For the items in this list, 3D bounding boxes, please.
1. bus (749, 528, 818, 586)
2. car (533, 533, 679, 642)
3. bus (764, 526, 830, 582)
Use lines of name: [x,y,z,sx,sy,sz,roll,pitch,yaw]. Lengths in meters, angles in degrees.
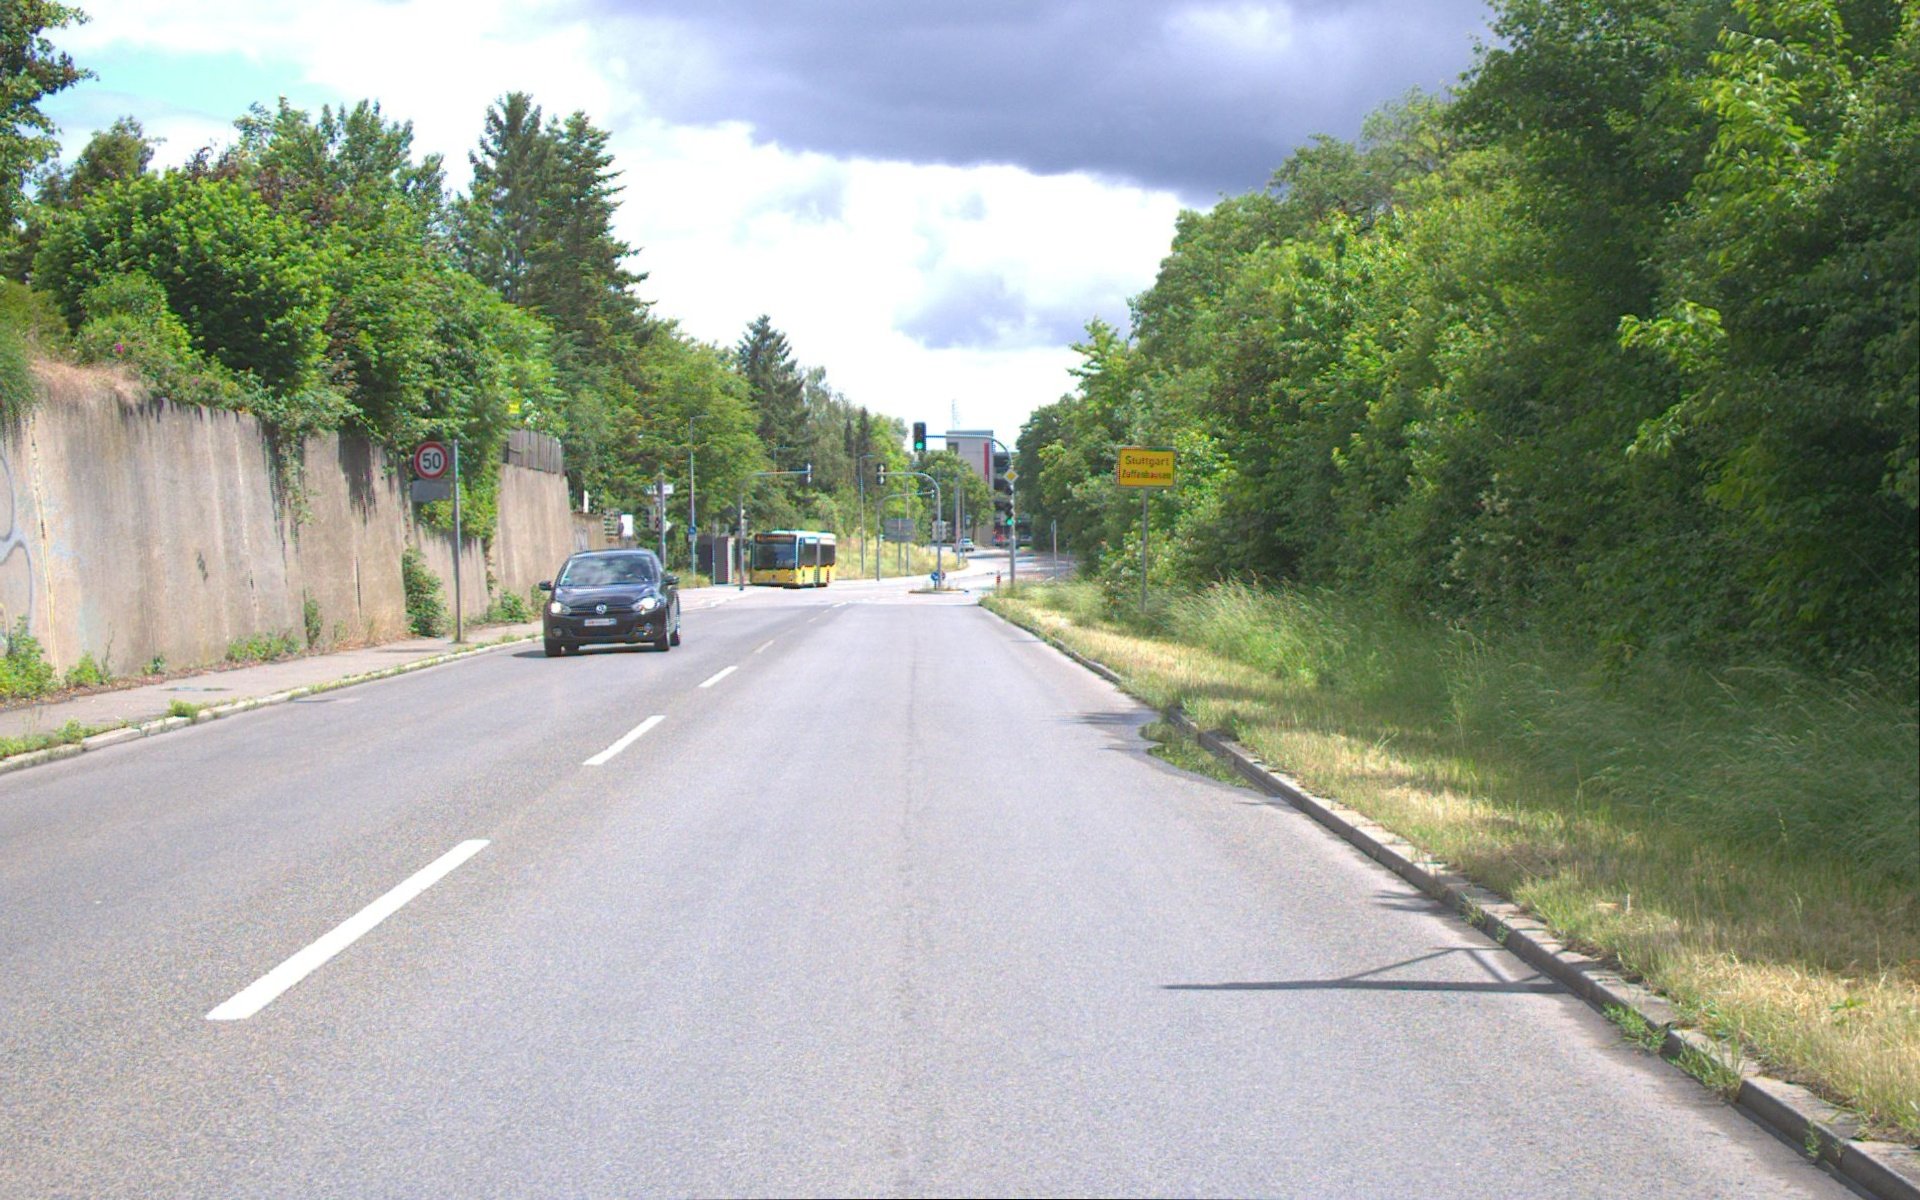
bus: [-9.417,-2.324,183.864,2.895,2.889,7.667,2,2,3]
car: [-5.052,-0.215,49.482,1.751,1.459,4.000,-1,1,-1]
bus: [-9.058,-2.589,191.556,2.895,2.889,7.667,2,2,3]
